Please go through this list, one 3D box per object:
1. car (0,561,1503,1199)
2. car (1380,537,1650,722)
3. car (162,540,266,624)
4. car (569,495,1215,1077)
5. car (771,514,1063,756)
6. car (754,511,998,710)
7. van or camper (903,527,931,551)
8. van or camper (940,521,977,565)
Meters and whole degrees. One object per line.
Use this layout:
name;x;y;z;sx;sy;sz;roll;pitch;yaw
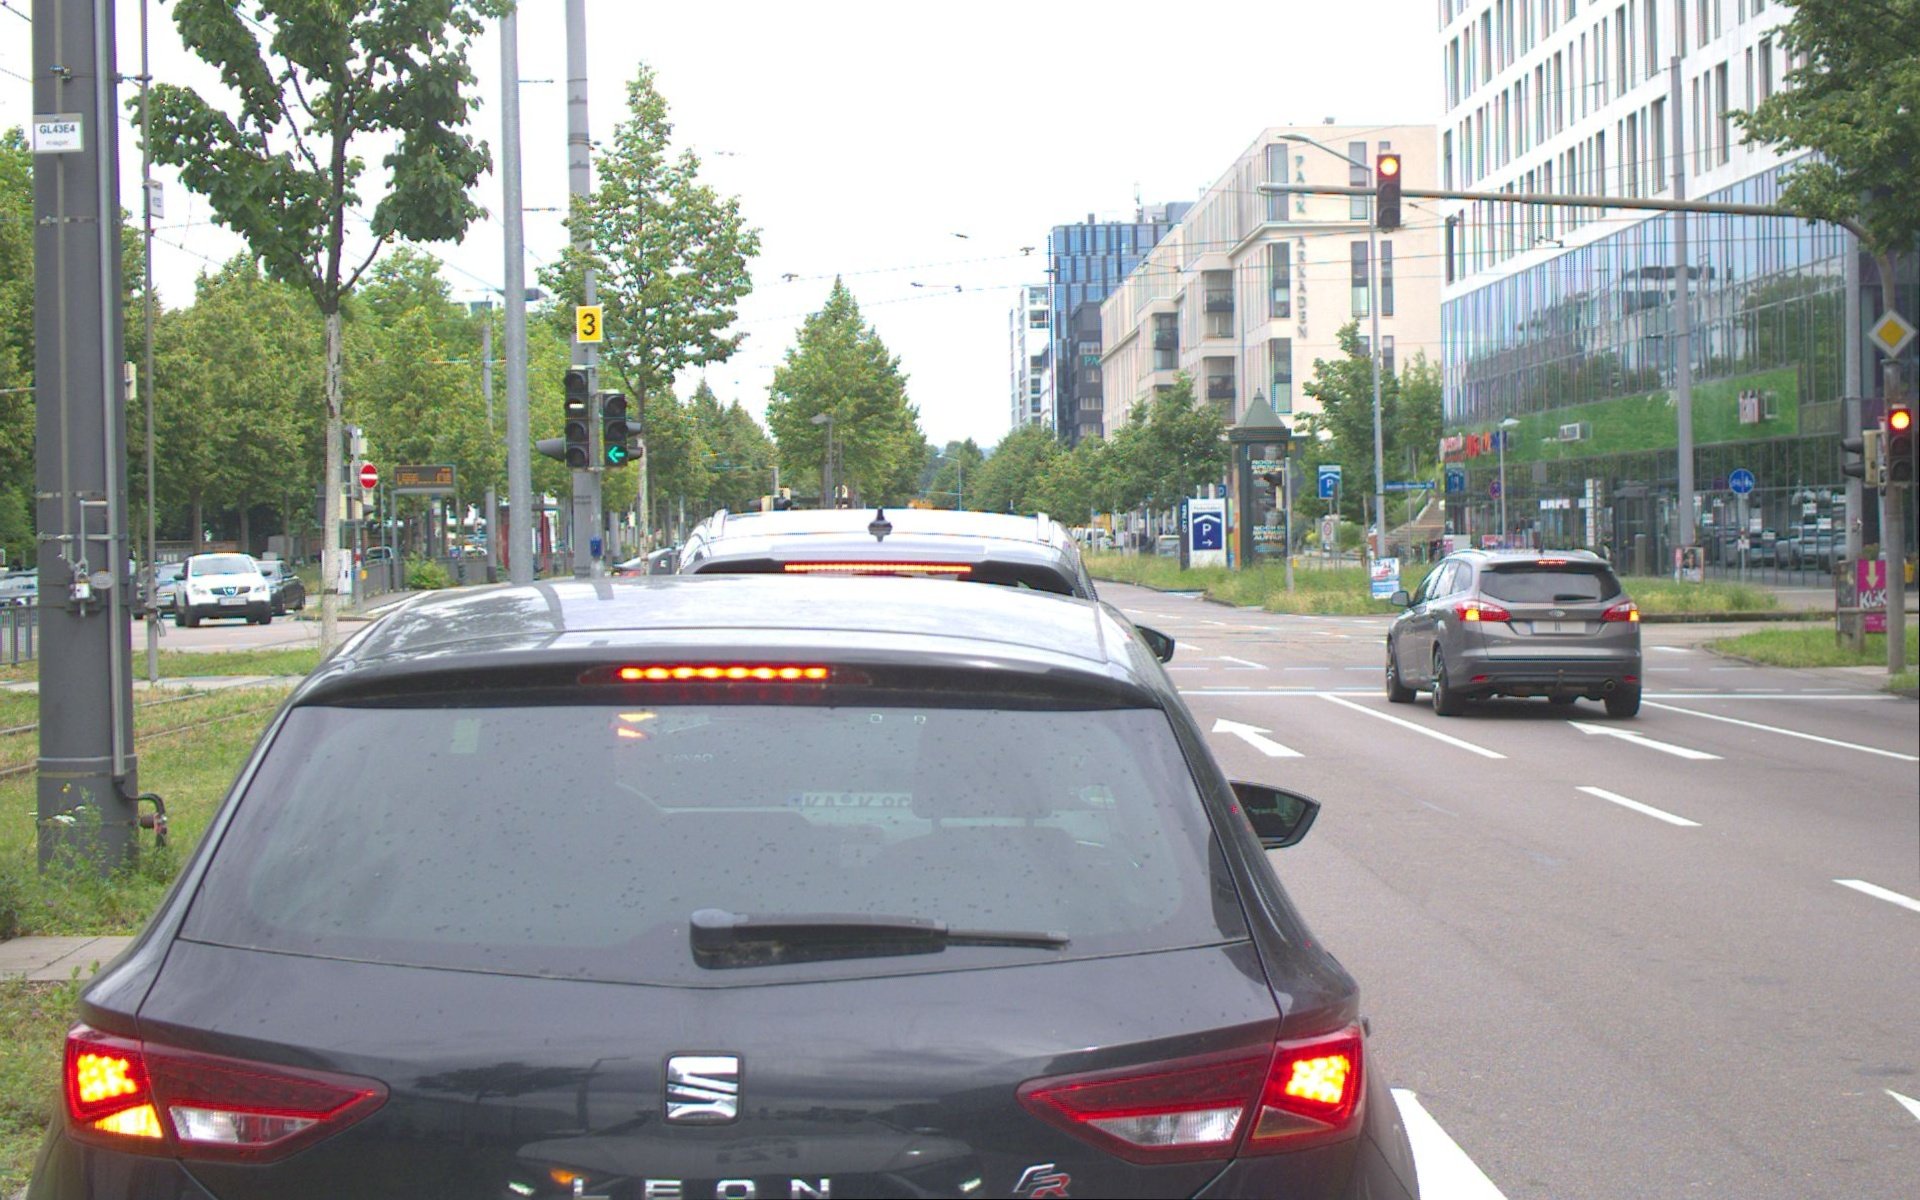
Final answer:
car;-0.375;0.675;5.492;1.743;1.412;4.000;1;1;-1
car;5.005;0.211;31.532;1.748;1.494;4.269;0;2;0
car;-16.358;-0.418;75.240;1.993;1.744;4.202;-1;1;-15
car;-0.214;0.484;11.717;1.802;1.619;4.000;-1;1;-1
car;-0.241;0.197;26.101;1.994;1.676;4.000;1;1;2
car;-0.692;0.039;31.160;1.993;1.676;4.000;1;1;2
van or camper;-3.087;-4.397;247.356;1.993;1.609;4.789;0;2;0
van or camper;-0.104;-3.332;199.433;2.109;2.348;4.924;0;3;0
